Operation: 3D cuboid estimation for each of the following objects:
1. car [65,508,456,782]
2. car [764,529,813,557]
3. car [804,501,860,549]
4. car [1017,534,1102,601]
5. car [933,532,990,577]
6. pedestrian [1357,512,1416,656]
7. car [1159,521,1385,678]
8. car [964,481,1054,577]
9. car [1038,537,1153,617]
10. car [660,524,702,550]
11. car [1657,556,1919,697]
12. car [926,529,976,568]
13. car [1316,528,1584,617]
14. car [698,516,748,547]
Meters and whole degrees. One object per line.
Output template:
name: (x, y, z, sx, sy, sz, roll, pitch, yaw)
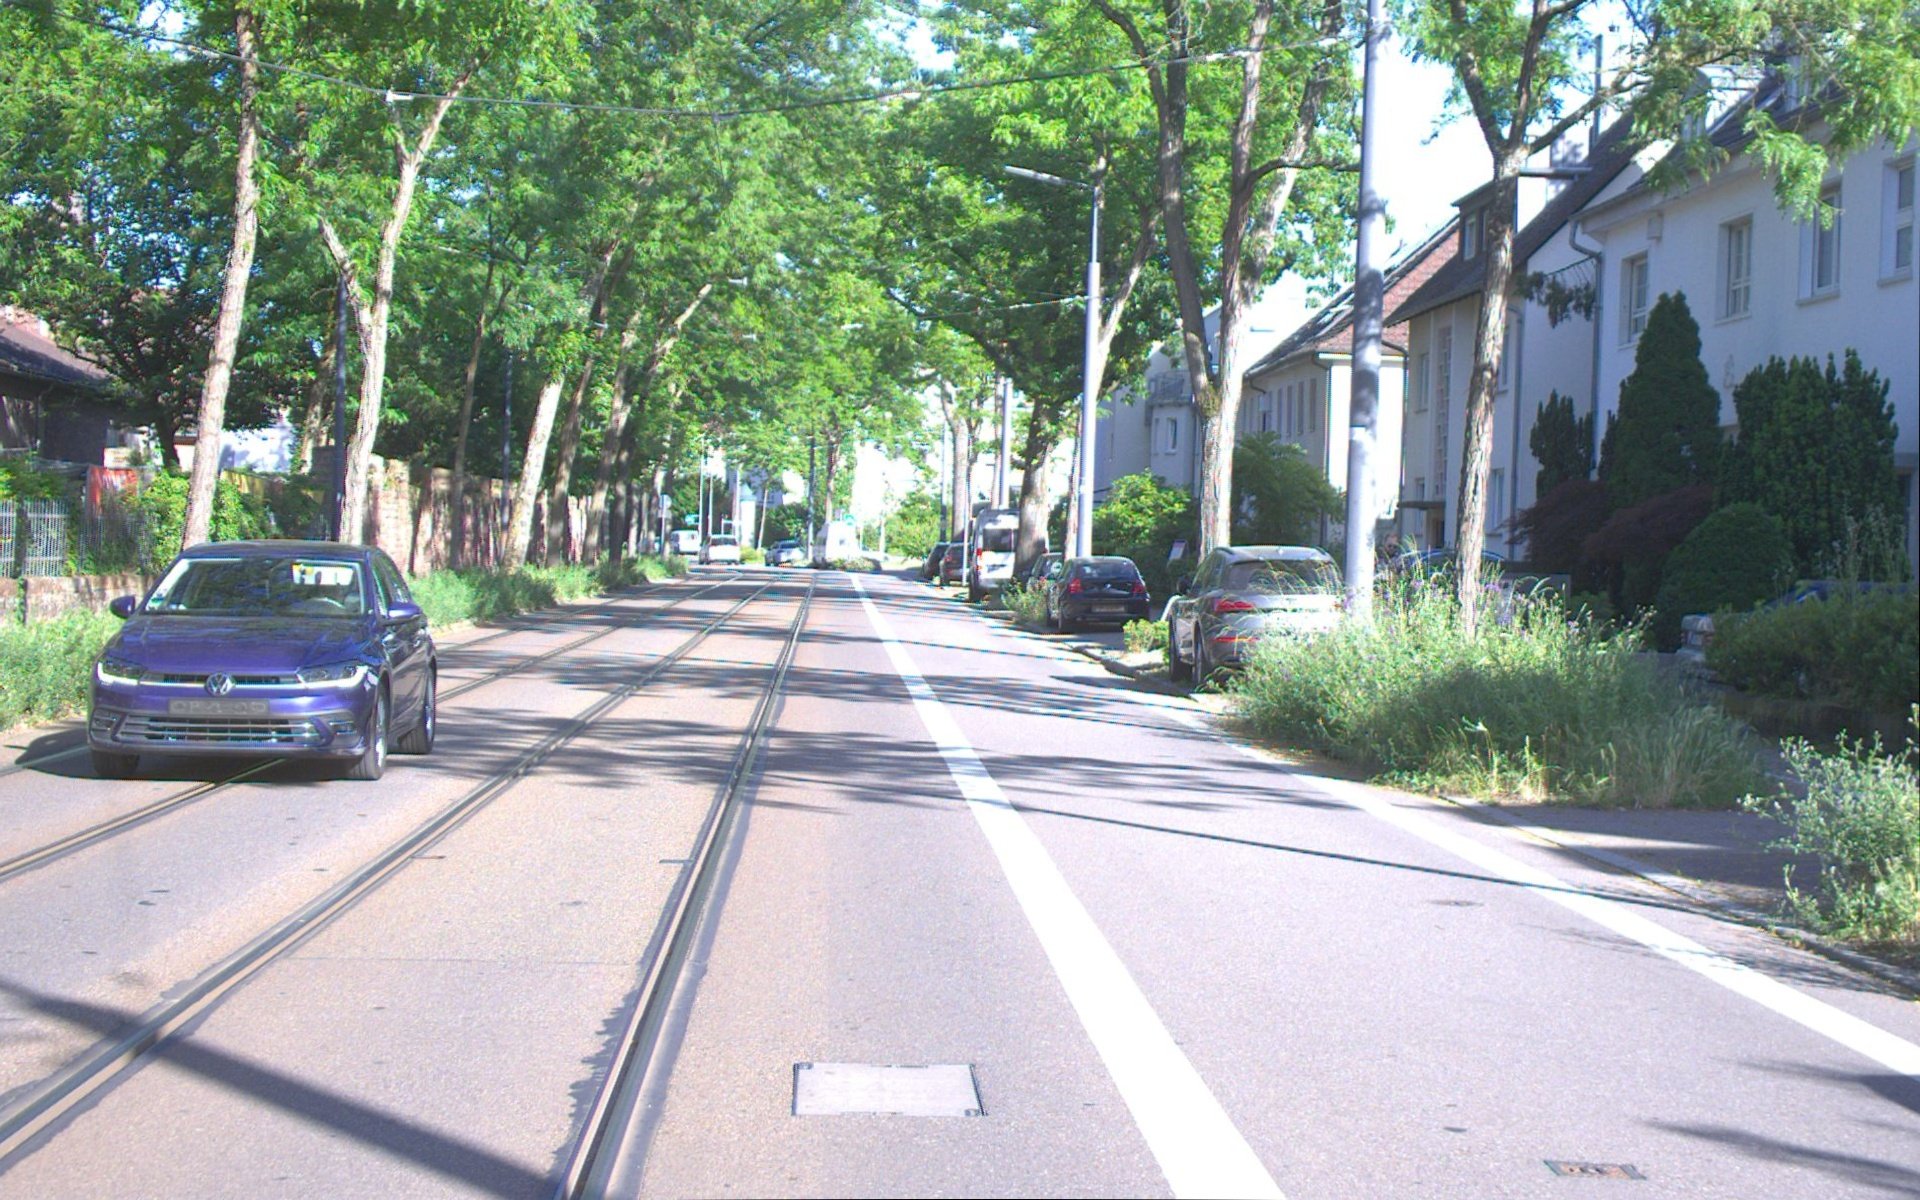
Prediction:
car: (-4.333, 0.223, 21.865, 1.748, 1.519, 4.070, 2, 1, -2)
car: (-10.011, -3.313, 200.815, 2.002, 1.555, 4.394, 1, 1, -14)
car: (-6.821, -4.003, 183.198, 1.993, 2.449, 4.510, 1, 1, -15)
car: (2.183, -0.743, 76.233, 1.627, 1.393, 3.646, -1, 1, -2)
car: (0.038, -1.738, 129.727, 2.002, 1.669, 4.393, 0, 1, -2)
pedestrian: (5.612, -0.215, 45.300, 0.625, 1.864, 0.732, -1, 1, -3)
car: (3.563, -0.057, 40.059, 1.993, 1.698, 4.478, -1, 1, -3)
car: (1.366, -2.010, 97.858, 2.245, 2.645, 5.586, 0, 1, -2)
car: (2.593, -0.468, 66.665, 1.783, 1.443, 4.302, -1, 1, -4)
car: (-20.328, -4.613, 250.371, 2.002, 1.903, 4.393, 0, 1, -20)
car: (9.462, 0.283, 35.558, 4.050, 1.338, 1.878, 2, 1, -2)
car: (-0.370, -2.223, 147.245, 2.003, 1.669, 4.392, 0, 1, 2)
car: (8.538, -0.486, 60.171, 4.421, 1.484, 1.858, -1, 1, 1)
car: (-12.988, -3.763, 188.323, 1.865, 1.669, 4.174, 1, 1, -16)
